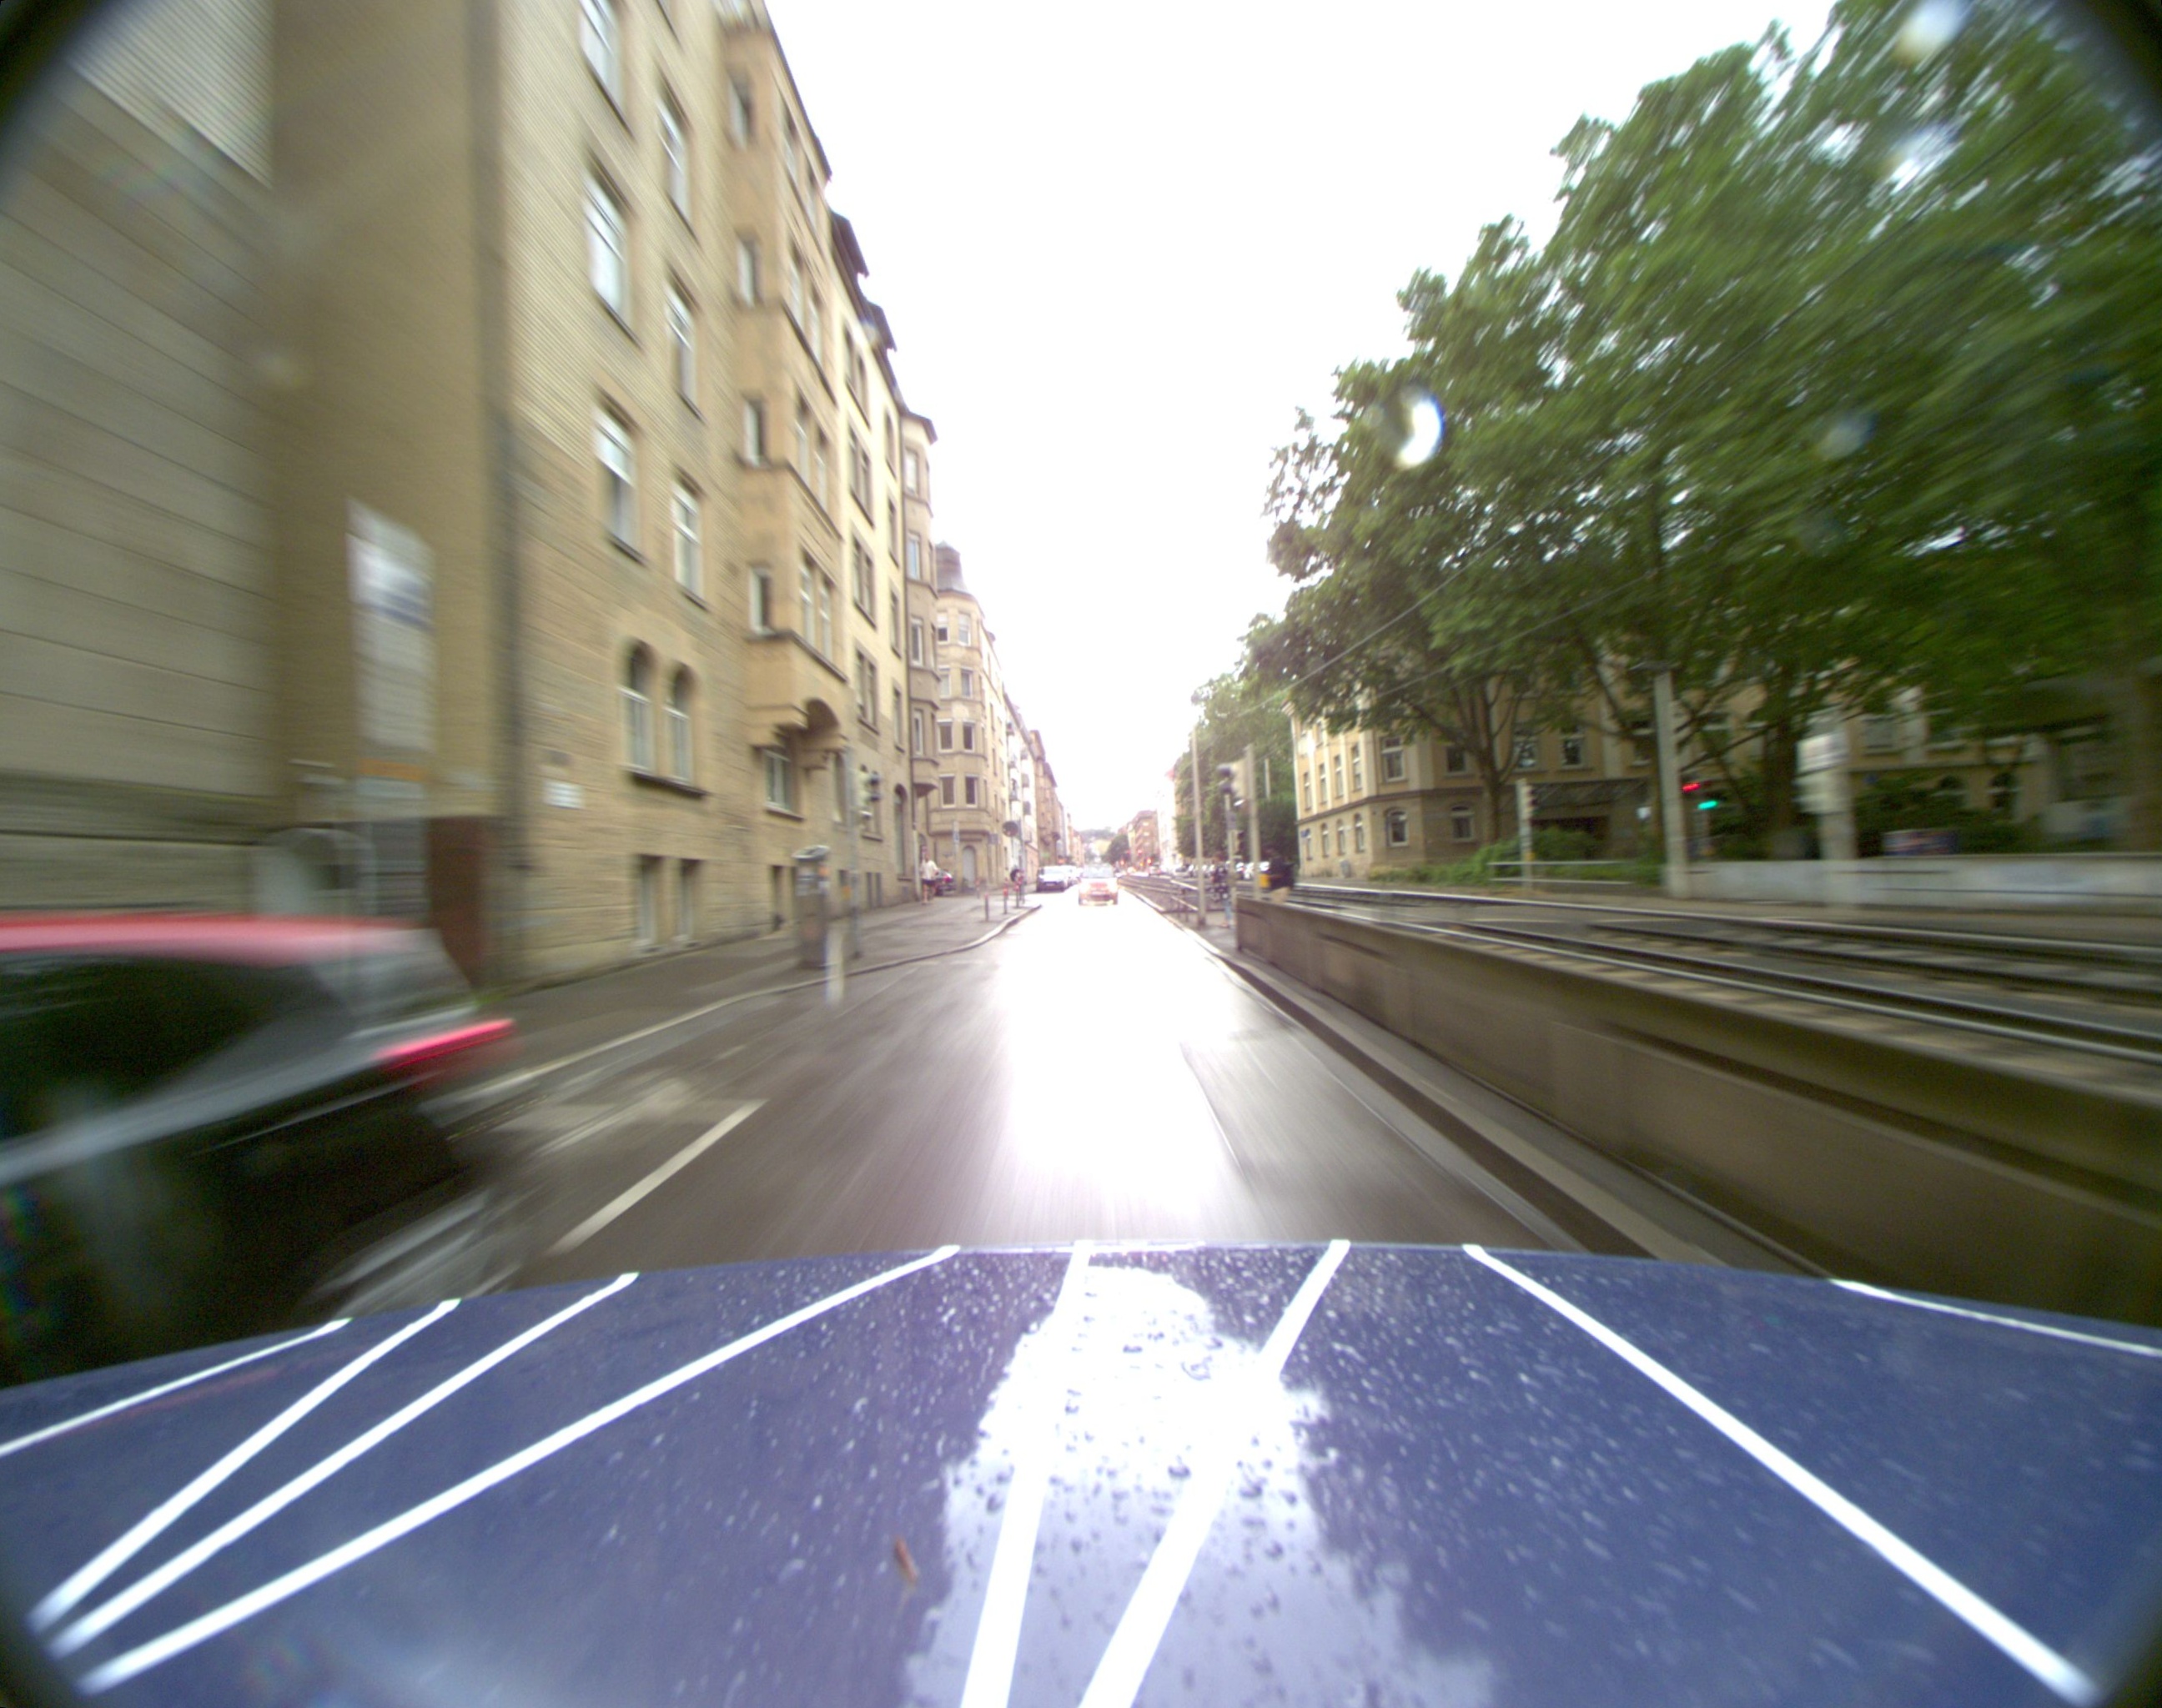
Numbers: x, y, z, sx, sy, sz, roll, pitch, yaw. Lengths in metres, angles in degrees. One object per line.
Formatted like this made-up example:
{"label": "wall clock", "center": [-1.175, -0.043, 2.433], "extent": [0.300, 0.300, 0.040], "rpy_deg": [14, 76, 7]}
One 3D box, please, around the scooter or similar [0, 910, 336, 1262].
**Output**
{"label": "scooter or similar", "center": [-4.682, 1.030, 3.919], "extent": [0.367, 1.308, 1.566], "rpy_deg": [-1, 2, -12]}

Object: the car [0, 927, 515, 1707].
{"label": "car", "center": [-2.929, 1.012, 0.825], "extent": [1.665, 1.444, 3.610], "rpy_deg": [-3, 0, 5]}

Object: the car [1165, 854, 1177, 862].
{"label": "car", "center": [14.015, 0.691, 118.587], "extent": [1.326, 1.159, 2.910], "rpy_deg": [-2, 0, -1]}

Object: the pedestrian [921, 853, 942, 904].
{"label": "pedestrian", "center": [-5.143, 0.844, 26.184], "extent": [0.580, 1.741, 0.574], "rpy_deg": [-1, -1, 2]}

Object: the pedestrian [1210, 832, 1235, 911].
{"label": "pedestrian", "center": [2.988, 0.371, 16.027], "extent": [0.433, 1.629, 0.482], "rpy_deg": [-3, 0, 10]}

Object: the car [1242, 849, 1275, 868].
{"label": "car", "center": [13.738, 0.356, 59.036], "extent": [1.646, 1.392, 3.516], "rpy_deg": [-2, 0, 0]}

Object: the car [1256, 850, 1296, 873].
{"label": "car", "center": [13.913, 0.528, 54.372], "extent": [1.891, 1.468, 3.807], "rpy_deg": [-4, 0, 2]}

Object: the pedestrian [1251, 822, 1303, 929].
{"label": "pedestrian", "center": [3.244, 0.350, 12.542], "extent": [0.651, 1.695, 0.662], "rpy_deg": [-3, 1, 24]}

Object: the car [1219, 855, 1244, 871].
{"label": "car", "center": [13.734, 0.802, 69.347], "extent": [1.484, 1.392, 3.282], "rpy_deg": [-2, 0, -1]}

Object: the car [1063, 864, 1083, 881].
{"label": "car", "center": [-0.785, 1.820, 75.586], "extent": [1.745, 1.649, 4.001], "rpy_deg": [-2, 0, 1]}

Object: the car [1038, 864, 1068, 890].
{"label": "car", "center": [-1.778, 1.452, 49.405], "extent": [1.745, 1.577, 4.000], "rpy_deg": [-2, 0, 0]}

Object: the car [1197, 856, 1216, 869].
{"label": "car", "center": [13.749, 0.928, 83.378], "extent": [1.402, 1.371, 3.314], "rpy_deg": [-2, 0, -2]}

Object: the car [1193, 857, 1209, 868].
{"label": "car", "center": [13.847, 0.954, 87.841], "extent": [1.326, 1.159, 2.909], "rpy_deg": [-2, 0, -2]}

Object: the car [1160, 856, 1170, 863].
{"label": "car", "center": [14.701, 0.896, 133.620], "extent": [1.326, 1.159, 2.910], "rpy_deg": [-2, 0, -1]}

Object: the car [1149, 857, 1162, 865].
{"label": "car", "center": [11.741, 1.126, 120.244], "extent": [1.571, 1.159, 2.909], "rpy_deg": [-2, 0, -2]}

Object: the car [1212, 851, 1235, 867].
{"label": "car", "center": [13.821, 0.521, 73.909], "extent": [1.484, 1.440, 3.500], "rpy_deg": [-2, 0, -1]}

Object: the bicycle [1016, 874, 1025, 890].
{"label": "bicycle", "center": [-3.759, 1.731, 47.133], "extent": [0.339, 1.008, 1.675], "rpy_deg": [0, -1, 2]}

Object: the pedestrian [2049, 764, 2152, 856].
{"label": "pedestrian", "center": [20.865, -0.876, 15.576], "extent": [0.870, 1.789, 0.862], "rpy_deg": [-3, 1, 7]}

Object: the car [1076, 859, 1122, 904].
{"label": "car", "center": [0.638, 1.042, 29.793], "extent": [1.620, 1.592, 4.067], "rpy_deg": [-2, -1, 0]}

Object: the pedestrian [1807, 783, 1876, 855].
{"label": "pedestrian", "center": [19.690, -0.888, 19.689], "extent": [0.871, 1.789, 0.862], "rpy_deg": [-3, 1, 4]}

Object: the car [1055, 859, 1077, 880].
{"label": "car", "center": [-1.297, 1.342, 68.137], "extent": [1.745, 1.729, 4.000], "rpy_deg": [-2, 0, 1]}

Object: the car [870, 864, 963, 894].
{"label": "car", "center": [-8.745, 1.350, 40.528], "extent": [4.506, 1.490, 1.780], "rpy_deg": [-1, -2, 3]}

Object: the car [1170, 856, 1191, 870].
{"label": "car", "center": [11.288, 0.992, 86.319], "extent": [1.687, 1.468, 3.311], "rpy_deg": [-4, 0, -4]}

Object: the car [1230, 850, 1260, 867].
{"label": "car", "center": [13.722, 0.382, 63.672], "extent": [1.646, 1.392, 3.516], "rpy_deg": [-2, 0, 0]}

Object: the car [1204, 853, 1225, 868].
{"label": "car", "center": [13.732, 0.683, 78.442], "extent": [1.402, 1.499, 3.314], "rpy_deg": [-2, 0, -2]}

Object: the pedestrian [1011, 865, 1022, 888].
{"label": "pedestrian", "center": [-3.963, 1.395, 46.918], "extent": [0.510, 1.363, 0.404], "rpy_deg": [-2, 1, -25]}

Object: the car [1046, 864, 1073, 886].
{"label": "car", "center": [-1.574, 1.507, 56.399], "extent": [1.745, 1.507, 4.000], "rpy_deg": [-2, 0, 1]}
